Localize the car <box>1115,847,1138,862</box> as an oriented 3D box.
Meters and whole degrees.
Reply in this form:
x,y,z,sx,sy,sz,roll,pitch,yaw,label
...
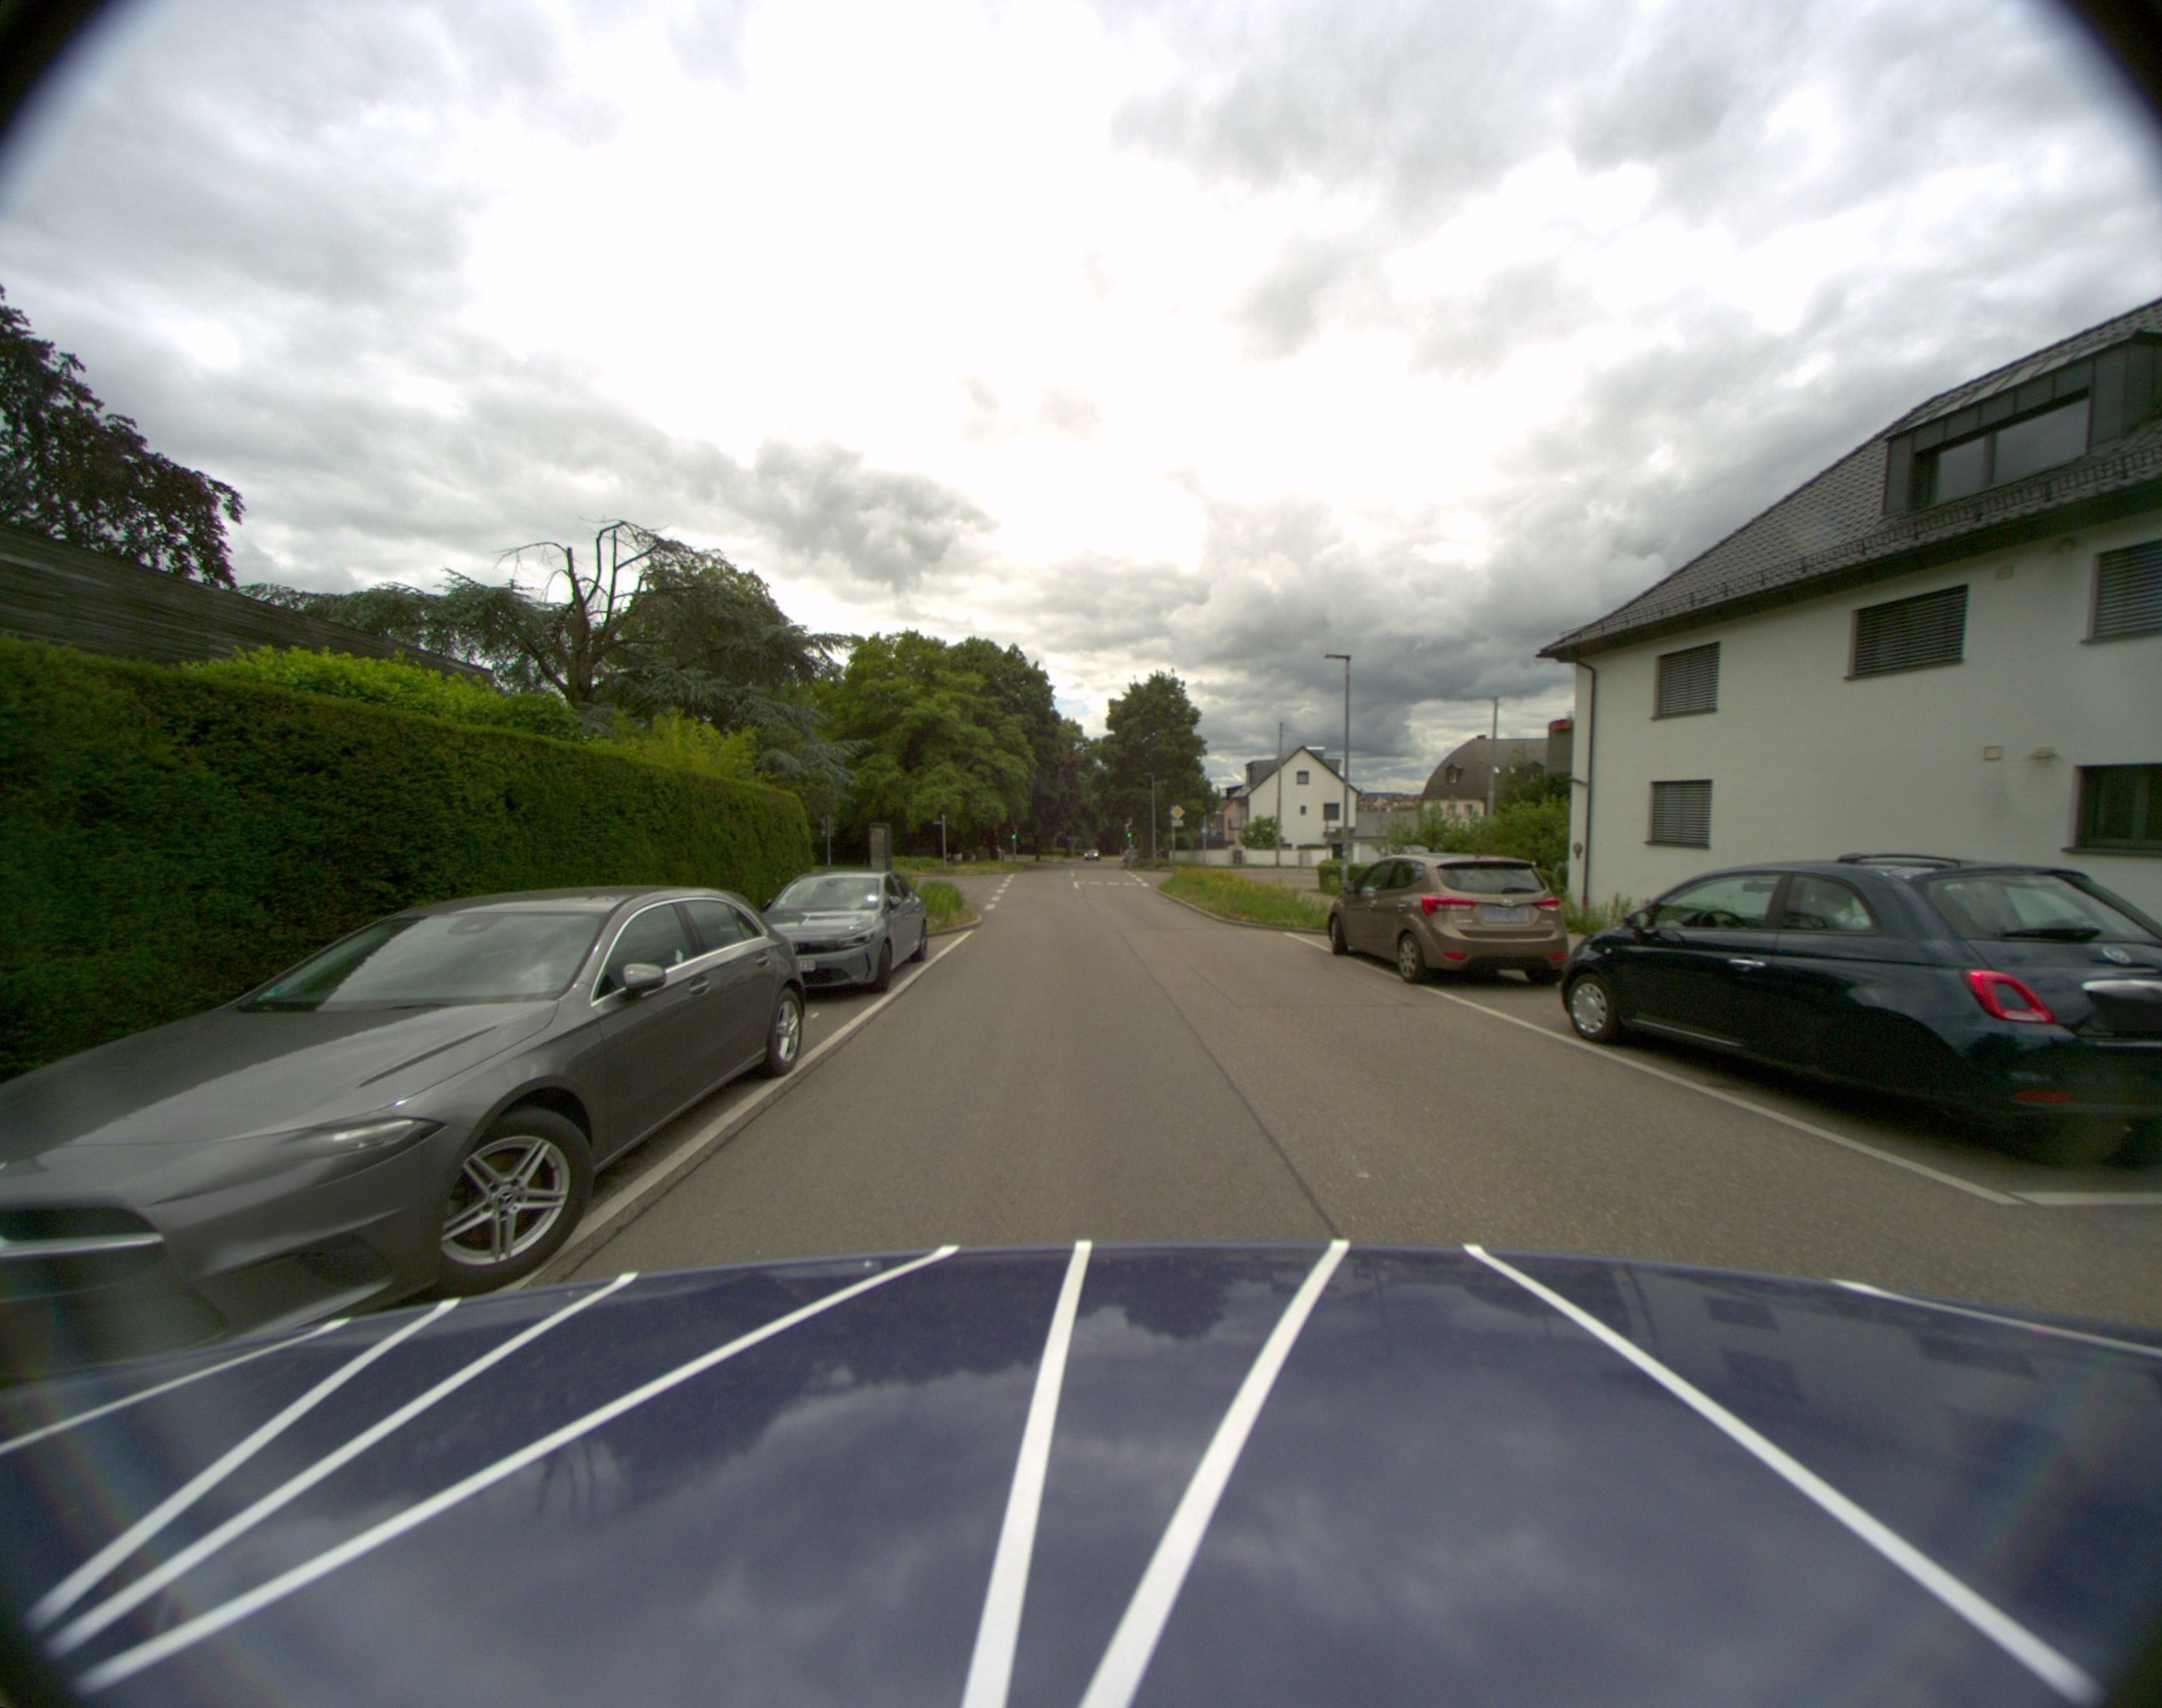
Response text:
x,y,z,sx,sy,sz,roll,pitch,yaw,label
5.443,0.021,91.077,1.996,1.543,4.003,2,3,15,car

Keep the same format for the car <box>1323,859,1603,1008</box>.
x,y,z,sx,sy,sz,roll,pitch,yaw,label
4.833,0.893,10.318,1.882,1.576,3.871,-1,0,0,car

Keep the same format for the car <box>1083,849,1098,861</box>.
x,y,z,sx,sy,sz,roll,pitch,yaw,label
1.225,0.080,96.737,1.568,1.504,3.398,-1,0,5,car

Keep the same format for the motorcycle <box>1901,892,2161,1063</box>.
x,y,z,sx,sy,sz,roll,pitch,yaw,label
8.335,0.985,6.675,0.430,1.154,1.863,0,2,8,motorcycle

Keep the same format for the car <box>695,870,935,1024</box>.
x,y,z,sx,sy,sz,roll,pitch,yaw,label
-3.224,1.039,10.134,1.860,1.455,3.999,-2,1,-2,car

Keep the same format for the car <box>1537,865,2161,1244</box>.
x,y,z,sx,sy,sz,roll,pitch,yaw,label
4.982,0.883,4.996,1.882,1.527,3.507,-1,0,0,car

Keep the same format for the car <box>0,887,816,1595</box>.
x,y,z,sx,sy,sz,roll,pitch,yaw,label
-2.982,1.033,3.873,1.860,1.455,4.170,-2,1,-2,car
